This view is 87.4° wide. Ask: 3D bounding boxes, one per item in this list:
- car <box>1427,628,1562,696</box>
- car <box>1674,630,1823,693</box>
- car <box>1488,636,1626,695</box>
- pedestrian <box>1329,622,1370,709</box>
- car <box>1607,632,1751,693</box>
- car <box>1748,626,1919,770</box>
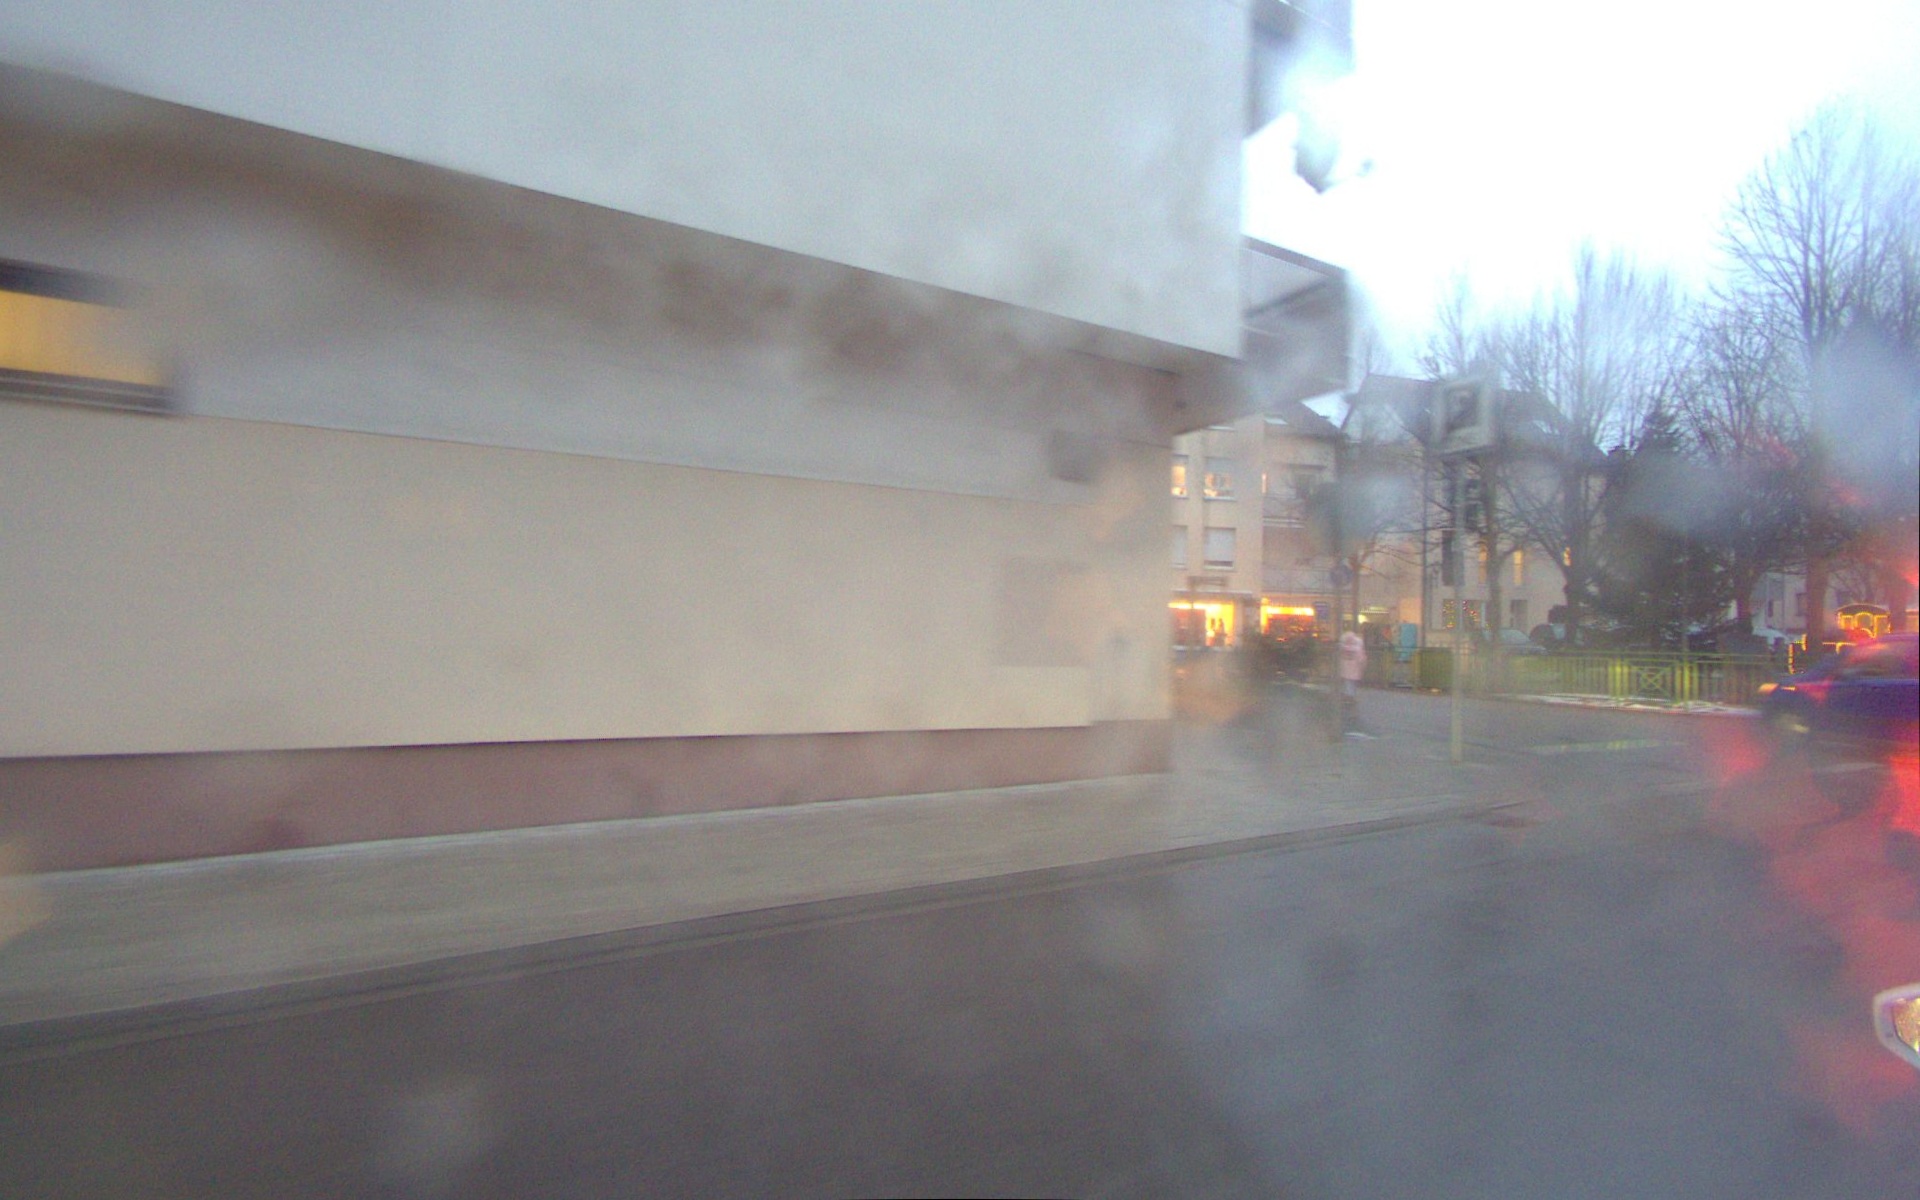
[{"bbox_3d":[17.163,1.953,32.460,1.786,2.014,3.993,1,-1,-10],"label":"car"},{"bbox_3d":[27.775,2.121,35.569,1.786,2.025,3.993,1,-1,-10],"label":"car"},{"bbox_3d":[19.762,2.130,33.460,1.786,1.753,3.993,1,-1,-10],"label":"car"},{"bbox_3d":[6.850,1.133,17.658,0.638,1.478,0.650,1,0,24],"label":"pedestrian"},{"bbox_3d":[24.876,2.121,34.949,1.786,1.936,3.993,1,-1,-10],"label":"car"},{"bbox_3d":[11.013,1.082,11.350,1.611,1.500,3.271,1,-1,-1],"label":"car"}]
